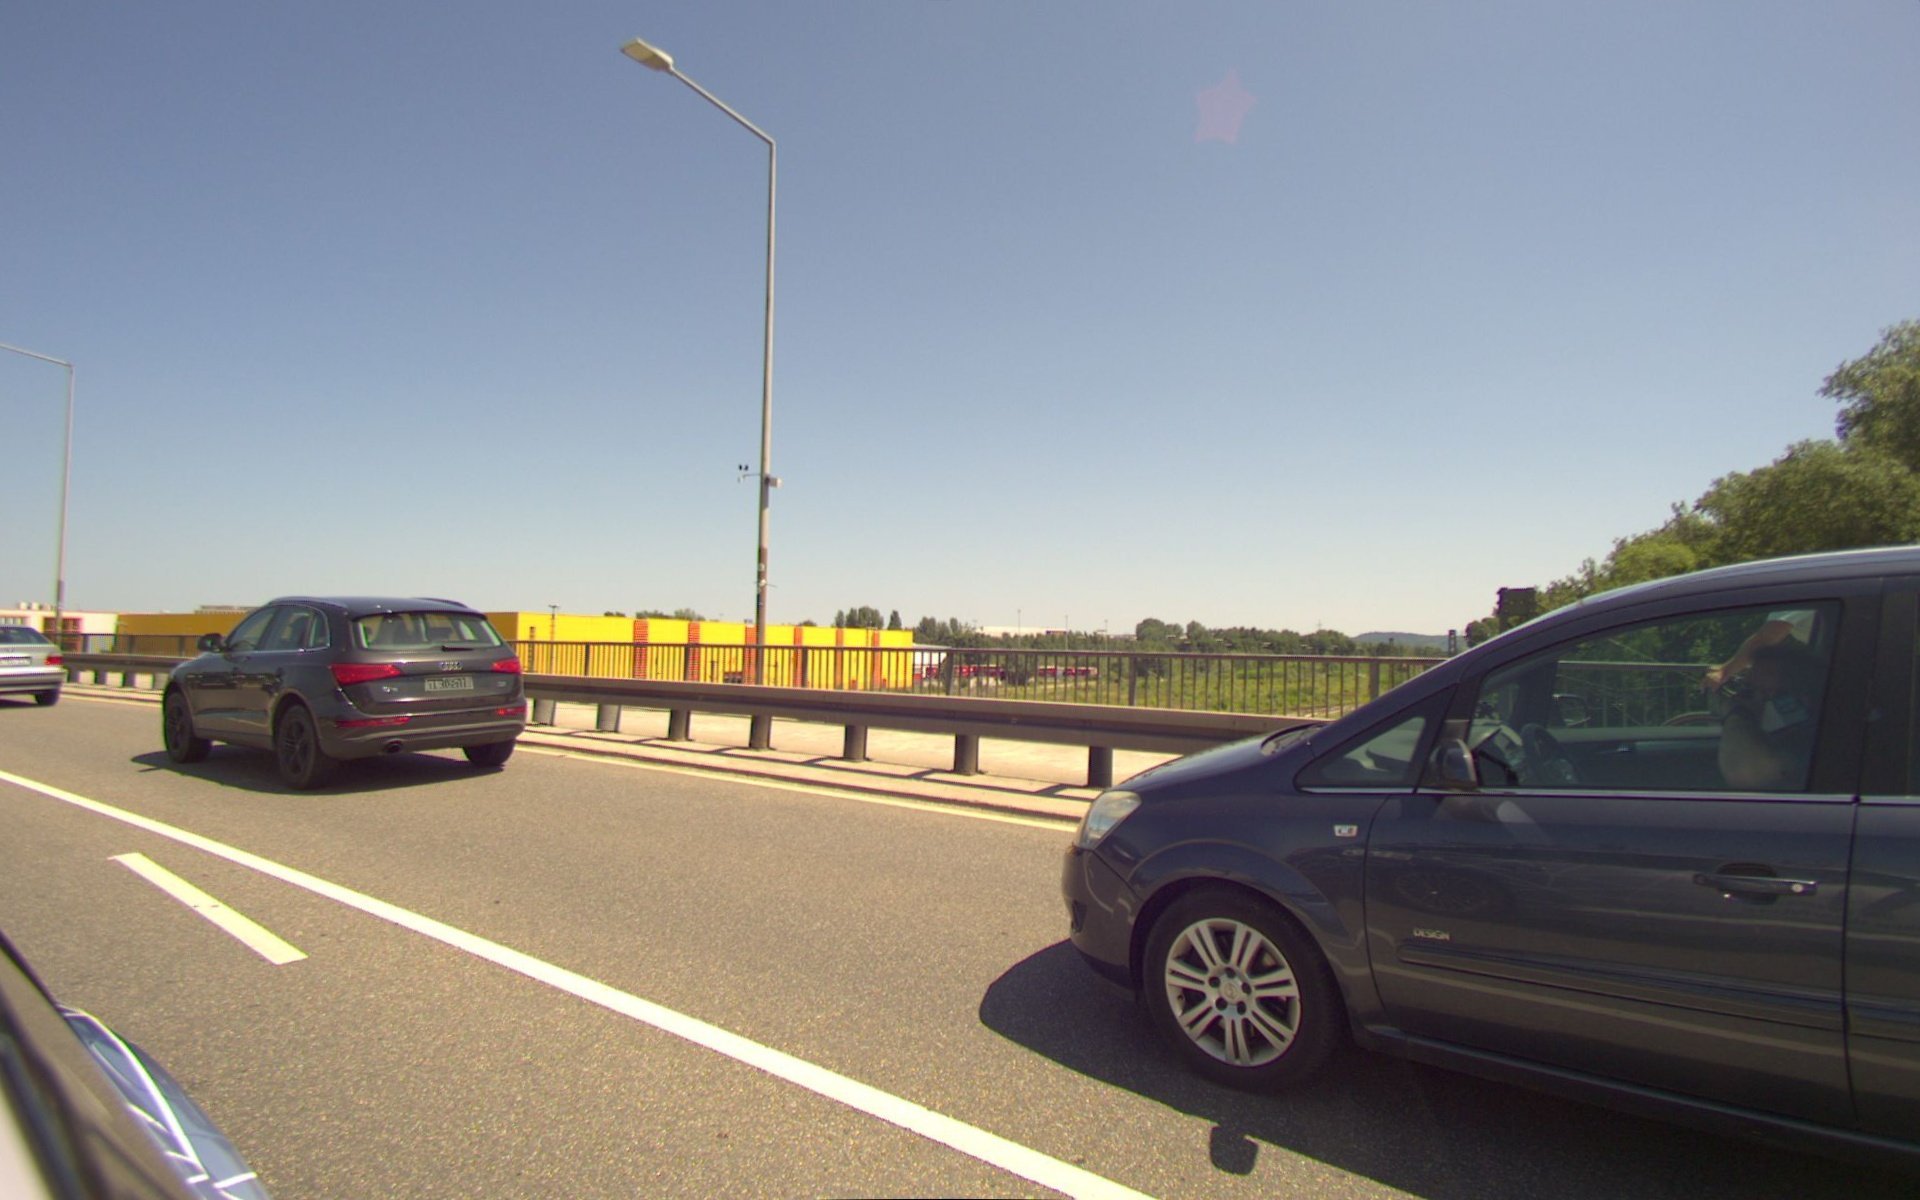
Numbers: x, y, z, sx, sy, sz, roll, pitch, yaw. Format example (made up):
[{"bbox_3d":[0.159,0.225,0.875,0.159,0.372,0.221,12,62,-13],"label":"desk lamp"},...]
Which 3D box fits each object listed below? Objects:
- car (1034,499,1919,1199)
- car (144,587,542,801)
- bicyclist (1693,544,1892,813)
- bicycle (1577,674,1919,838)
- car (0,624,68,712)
[{"bbox_3d":[2.427,0.616,2.760,4.248,1.638,1.690,-1,-1,40],"label":"car"},{"bbox_3d":[-6.093,0.770,9.822,4.291,1.653,1.785,-1,-2,36],"label":"car"},{"bbox_3d":[5.152,0.456,6.287,0.896,1.533,0.577,-1,-2,41],"label":"bicyclist"},{"bbox_3d":[5.076,0.930,6.343,1.991,0.840,0.582,-1,-2,42],"label":"bicycle"},{"bbox_3d":[-16.883,1.096,17.047,3.986,1.386,1.684,-1,-2,32],"label":"car"}]
